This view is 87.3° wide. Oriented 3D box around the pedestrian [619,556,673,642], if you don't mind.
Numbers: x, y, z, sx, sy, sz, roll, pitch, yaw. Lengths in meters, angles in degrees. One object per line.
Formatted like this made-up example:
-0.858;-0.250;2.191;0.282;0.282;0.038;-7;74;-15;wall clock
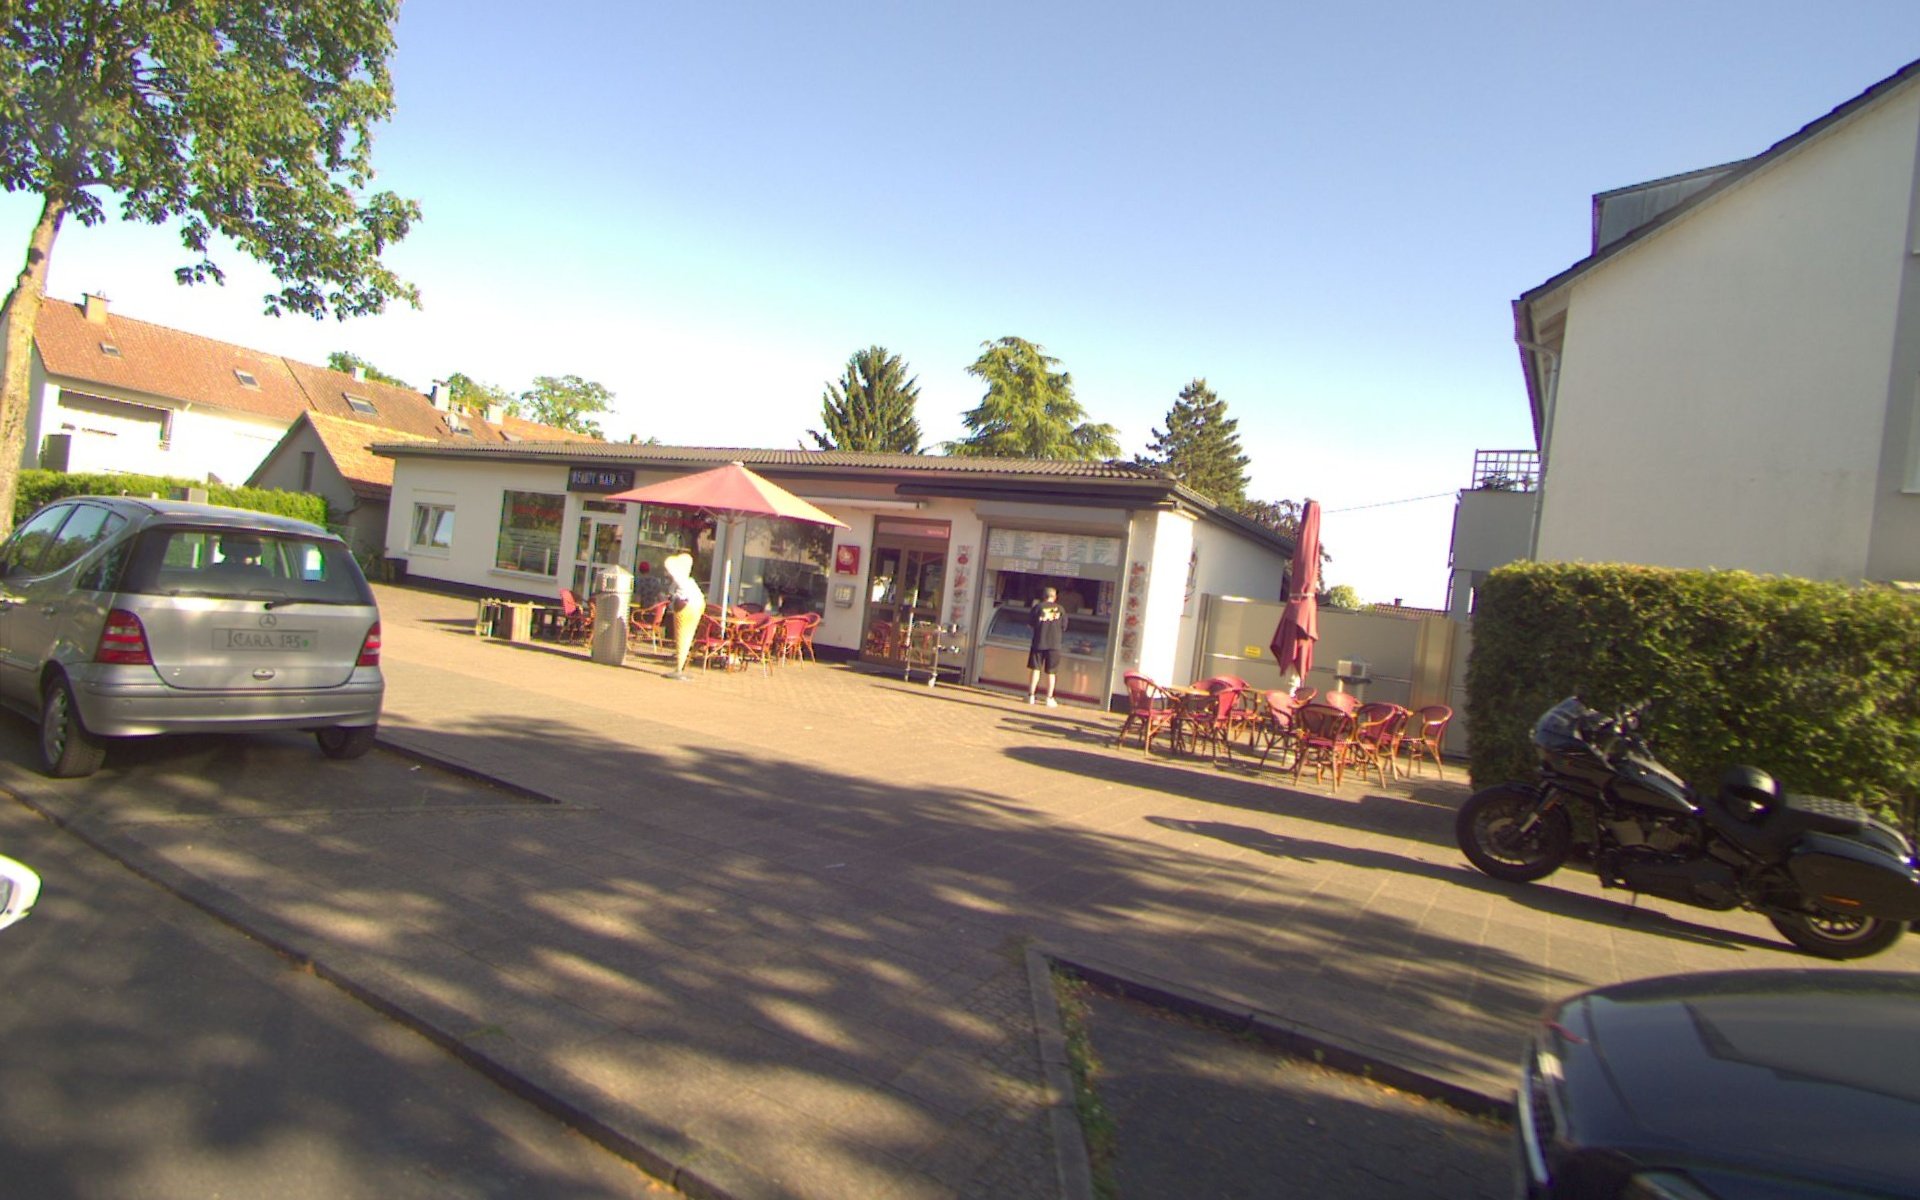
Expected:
-5.472;-0.023;17.532;0.629;1.400;0.439;7;-1;37;pedestrian

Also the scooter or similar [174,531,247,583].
-15.081;-0.859;20.233;1.385;0.868;0.369;7;0;18;scooter or similar

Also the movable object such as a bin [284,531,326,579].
-15.366;-1.047;23.603;0.734;1.045;0.493;7;3;31;movable object such as a bin

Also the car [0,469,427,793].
-5.852;0.087;7.060;4.309;1.639;1.615;7;-4;32;car

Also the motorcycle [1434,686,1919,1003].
4.172;1.307;5.918;2.312;1.243;0.818;7;2;31;motorcycle

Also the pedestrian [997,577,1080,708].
1.175;0.629;14.879;0.824;1.800;0.824;7;0;20;pedestrian

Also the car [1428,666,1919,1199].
3.143;1.273;1.456;4.303;1.639;2.002;7;-4;26;car

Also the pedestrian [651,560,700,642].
-5.185;0.014;18.336;0.656;1.427;0.489;5;2;-30;pedestrian
